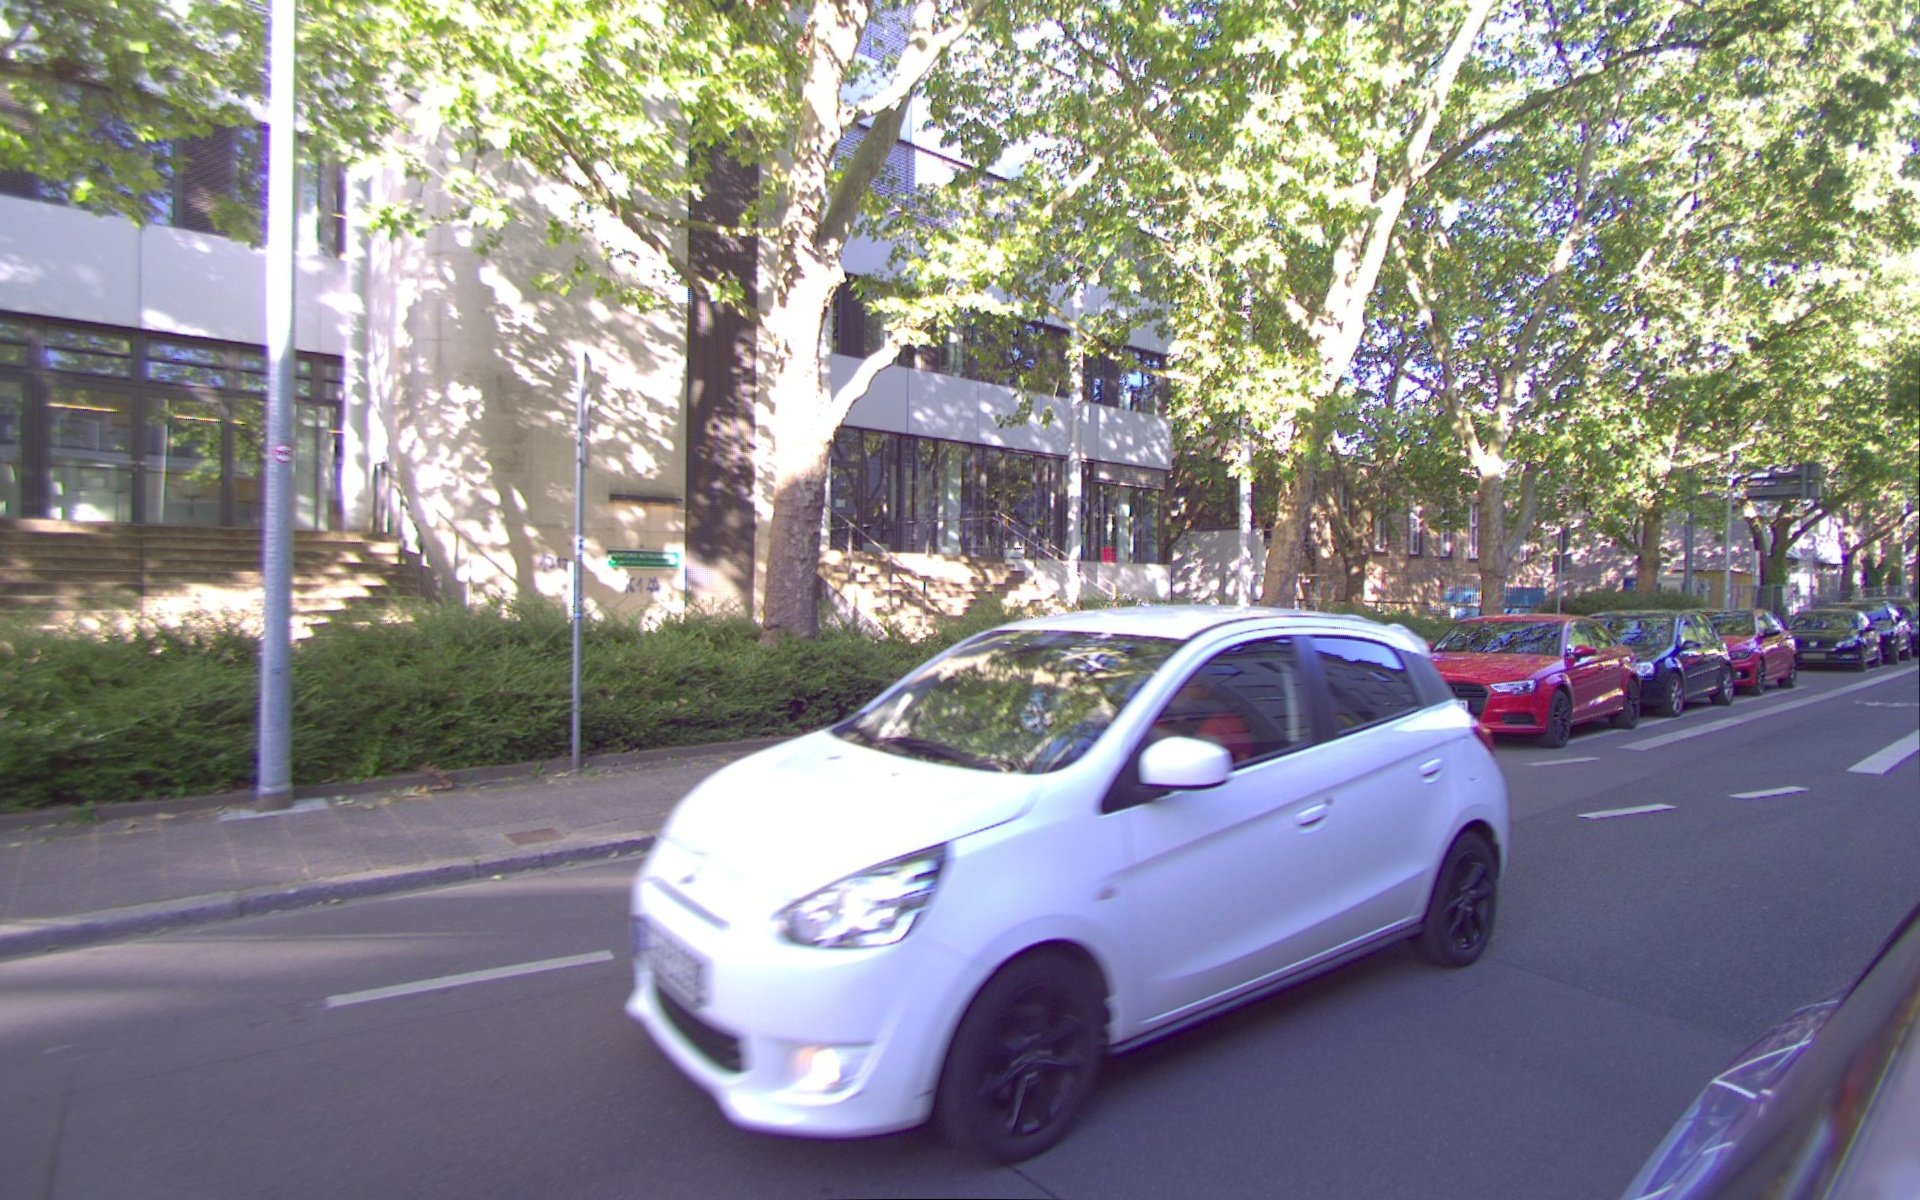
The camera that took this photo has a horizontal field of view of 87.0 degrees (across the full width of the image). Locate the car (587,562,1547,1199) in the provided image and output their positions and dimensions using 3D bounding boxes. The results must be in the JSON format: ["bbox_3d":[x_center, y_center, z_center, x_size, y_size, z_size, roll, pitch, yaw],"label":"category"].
[{"bbox_3d":[0.620,0.665,4.013,3.617,1.517,1.683,-1,0,-37],"label":"car"}]

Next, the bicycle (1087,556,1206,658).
[{"bbox_3d":[3.908,0.107,21.451,0.729,2.039,2.603,1,1,-39],"label":"bicycle"}]

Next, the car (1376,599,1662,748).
[{"bbox_3d":[6.829,0.747,12.161,4.360,1.468,1.694,0,-1,-43],"label":"car"}]

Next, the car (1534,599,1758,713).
[{"bbox_3d":[10.333,0.745,15.145,3.992,1.485,1.696,0,-1,-39],"label":"car"}]

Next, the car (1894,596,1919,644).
[{"bbox_3d":[34.489,0.680,35.860,4.256,1.648,1.694,0,-1,-43],"label":"car"}]

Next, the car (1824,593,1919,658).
[{"bbox_3d":[25.265,0.657,27.752,4.541,1.648,1.778,0,-1,-42],"label":"car"}]

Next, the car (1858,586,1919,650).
[{"bbox_3d":[29.325,0.546,31.632,1.823,1.865,4.825,-2,-1,41],"label":"car"}]

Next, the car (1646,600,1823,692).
[{"bbox_3d":[14.287,0.770,18.582,4.242,1.498,1.696,0,-1,-40],"label":"car"}]

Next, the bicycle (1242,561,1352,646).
[{"bbox_3d":[8.442,0.059,25.483,0.729,2.039,2.603,1,1,-39],"label":"bicycle"}]

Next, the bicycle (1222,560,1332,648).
[{"bbox_3d":[7.765,0.066,24.914,0.729,2.039,2.603,1,1,-39],"label":"bicycle"}]

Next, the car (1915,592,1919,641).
[{"bbox_3d":[38.048,0.605,38.665,4.055,1.836,1.696,0,-1,-39],"label":"car"}]

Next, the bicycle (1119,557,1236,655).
[{"bbox_3d":[4.733,0.099,22.252,0.729,2.039,2.603,1,1,-39],"label":"bicycle"}]

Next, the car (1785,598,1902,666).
[{"bbox_3d":[21.392,0.725,24.458,3.951,1.523,1.694,0,-1,-43],"label":"car"}]

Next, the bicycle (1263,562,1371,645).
[{"bbox_3d":[9.156,0.052,26.052,0.729,2.039,2.603,1,1,-39],"label":"bicycle"}]
